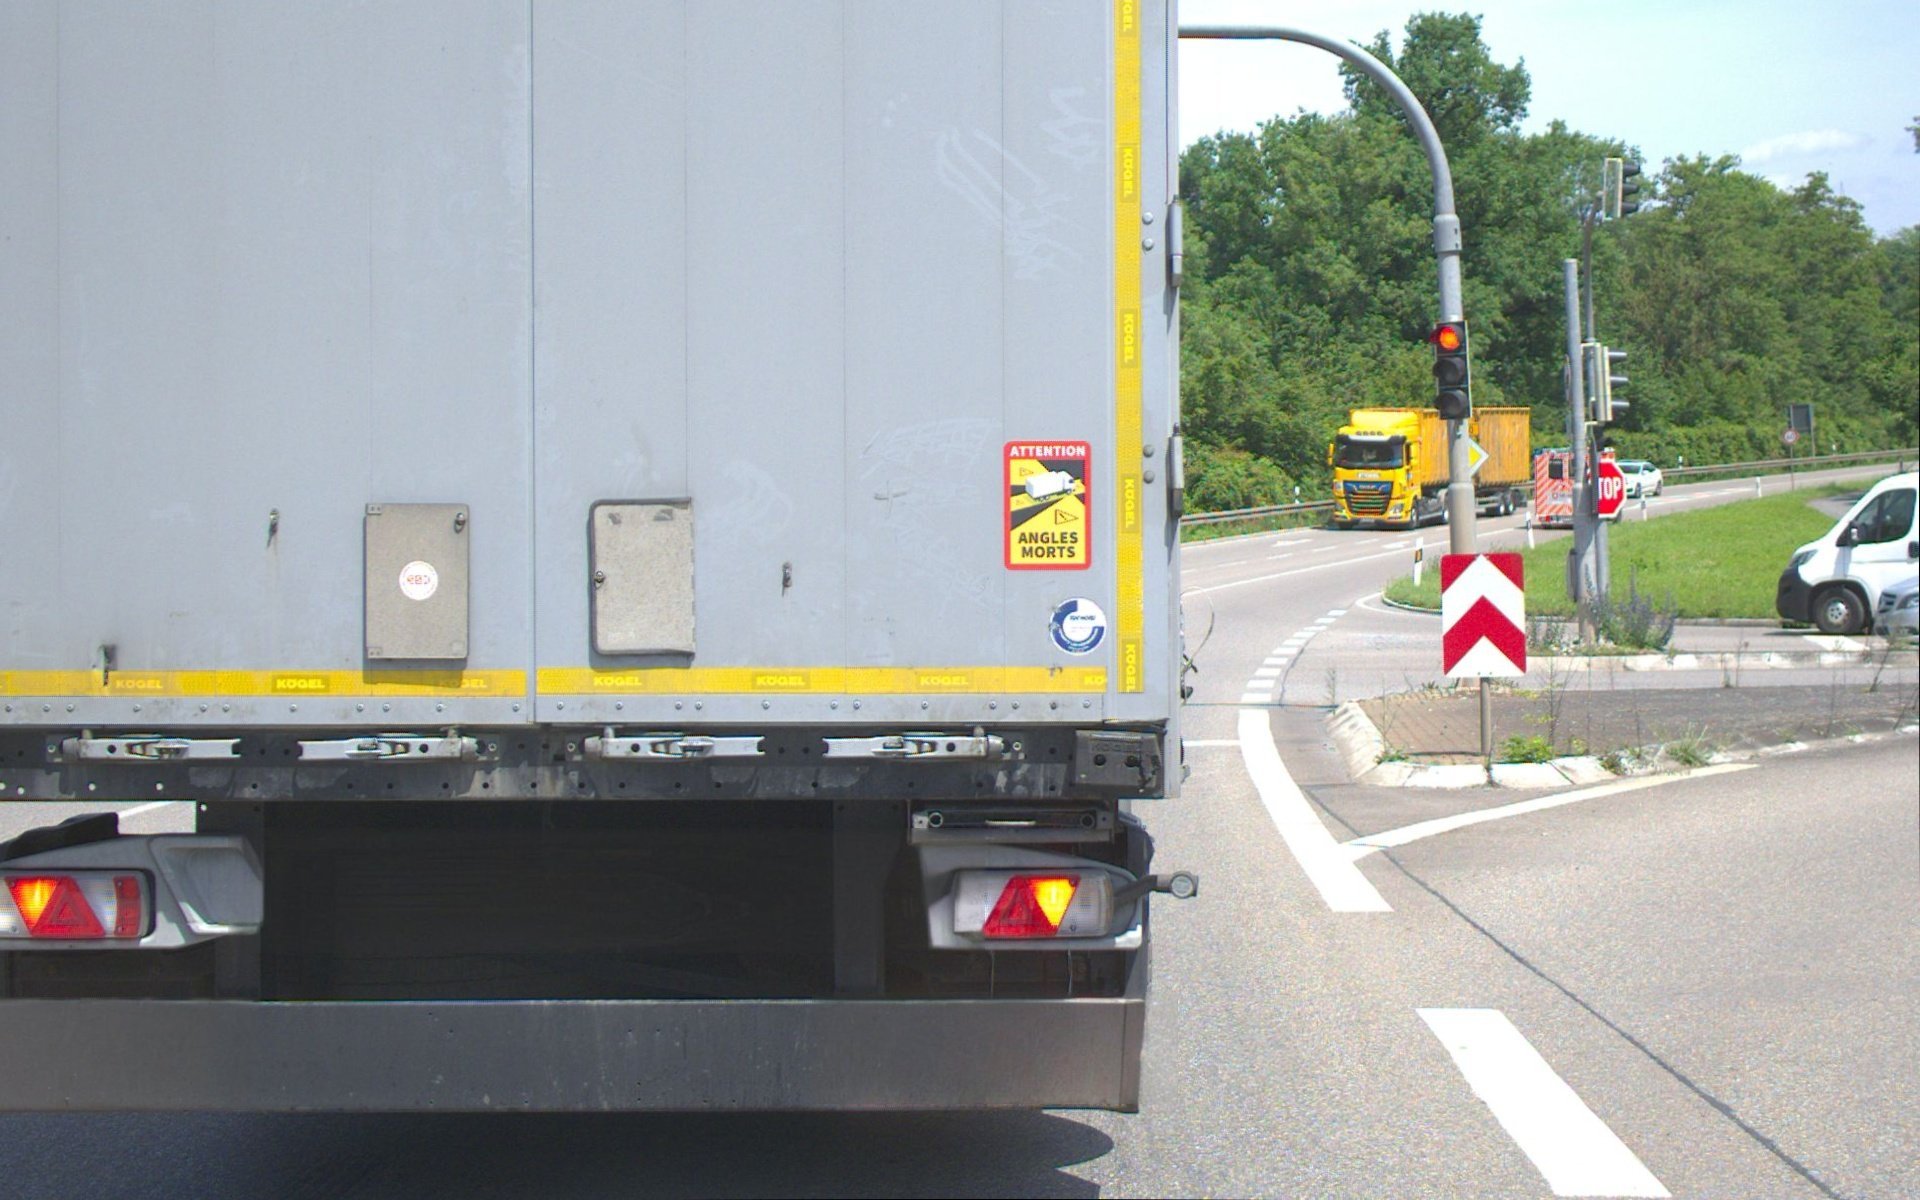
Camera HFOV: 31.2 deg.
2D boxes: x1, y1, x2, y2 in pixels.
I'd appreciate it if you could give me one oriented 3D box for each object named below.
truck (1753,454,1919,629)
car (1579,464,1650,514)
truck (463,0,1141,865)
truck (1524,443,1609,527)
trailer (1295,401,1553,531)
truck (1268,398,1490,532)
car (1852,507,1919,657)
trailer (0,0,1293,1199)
[{"bbox_3d":[13.367,-0.759,45.757,5.153,2.288,1.997,0,-1,27],"label":"truck"},{"bbox_3d":[27.978,-4.759,146.895,1.996,2.006,3.995,0,3,25],"label":"car"},{"bbox_3d":[-0.639,-0.874,18.882,3.038,4.020,6.629,0,1,1],"label":"truck"},{"bbox_3d":[20.561,-3.867,116.358,2.495,2.718,6.027,0,1,13],"label":"truck"},{"bbox_3d":[17.348,-4.882,126.022,5.016,4.347,20.818,0,2,20],"label":"trailer"},{"bbox_3d":[14.563,-4.621,118.329,5.016,4.347,11.754,0,2,20],"label":"truck"},{"bbox_3d":[12.840,-0.185,40.127,4.428,1.712,2.000,0,-1,5],"label":"car"},{"bbox_3d":[-0.782,-0.775,12.627,3.052,4.020,12.559,0,1,1],"label":"trailer"}]
